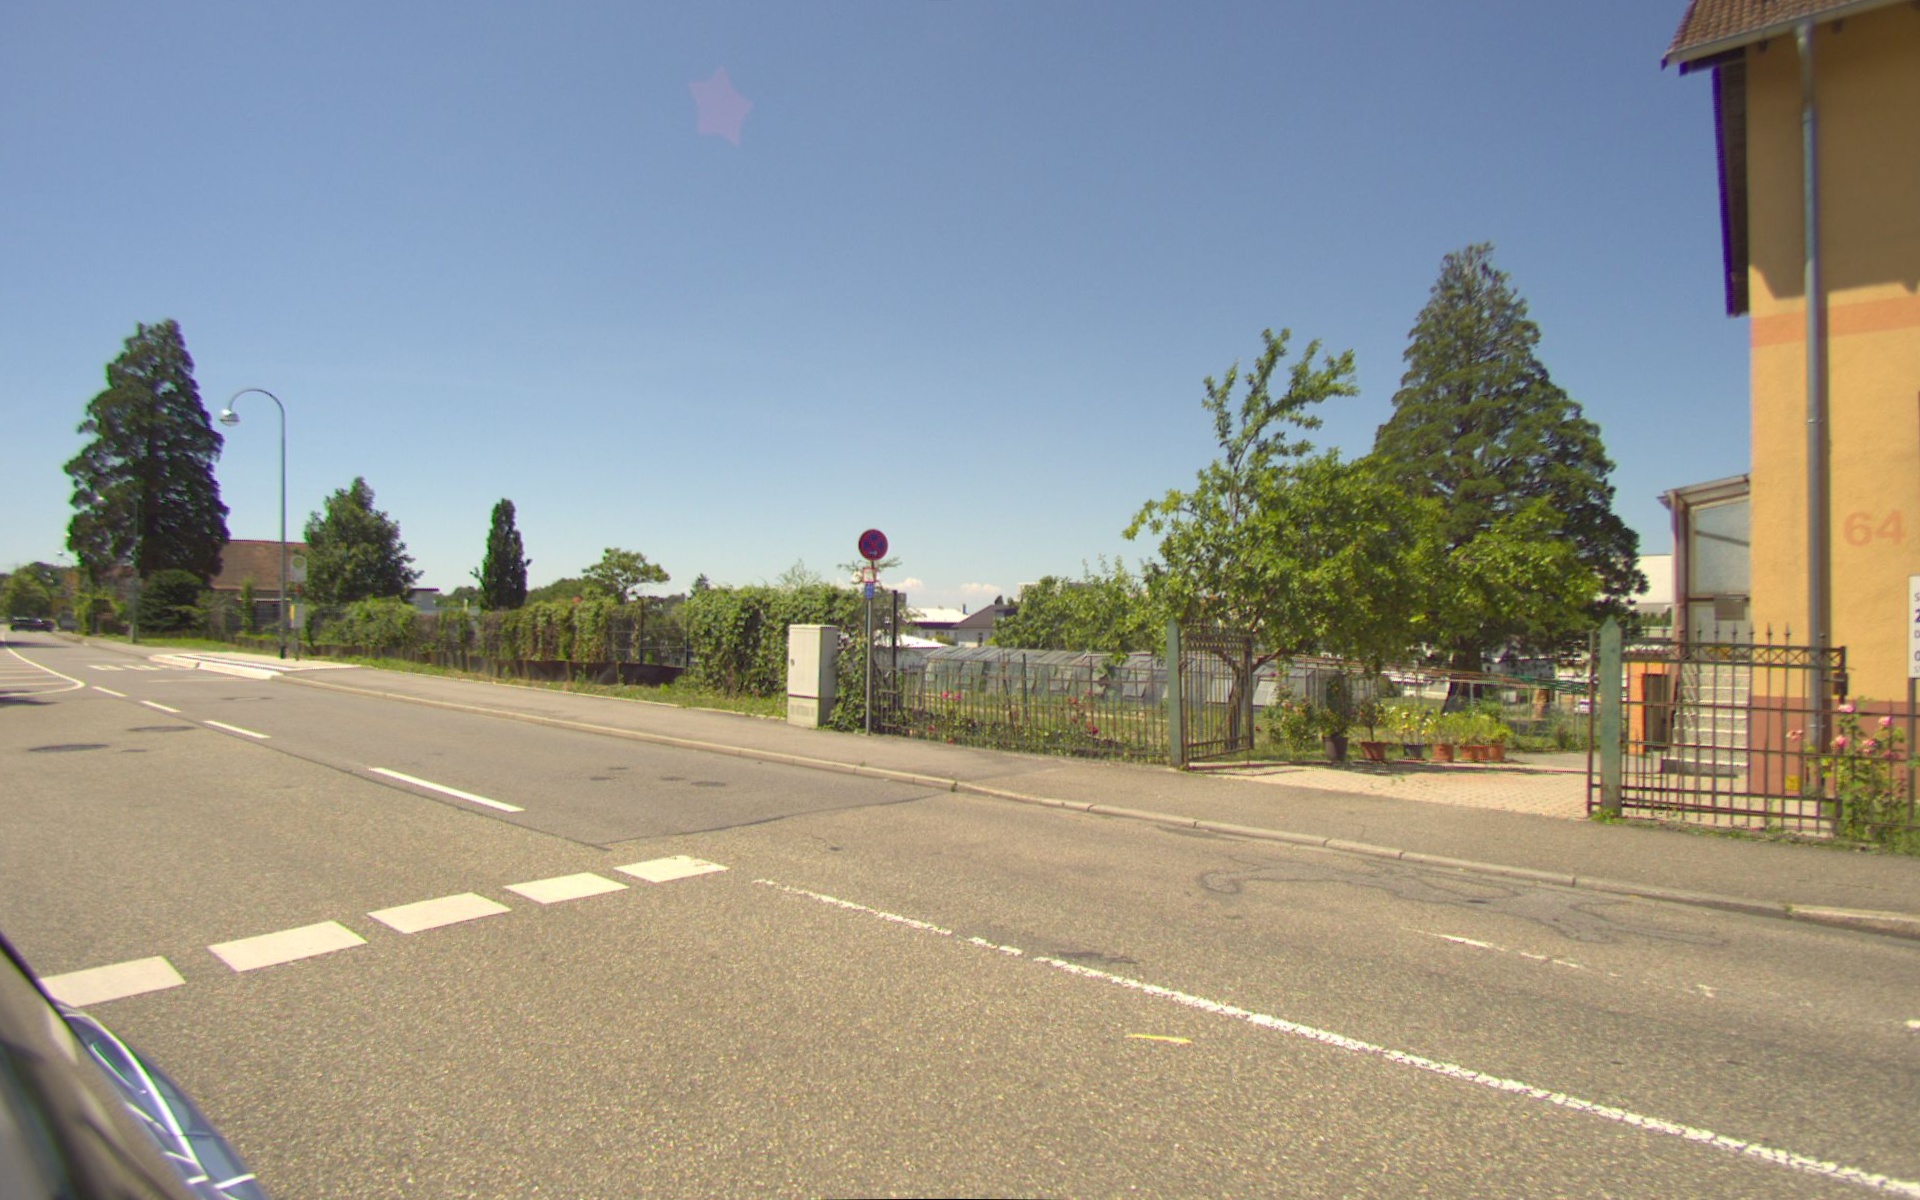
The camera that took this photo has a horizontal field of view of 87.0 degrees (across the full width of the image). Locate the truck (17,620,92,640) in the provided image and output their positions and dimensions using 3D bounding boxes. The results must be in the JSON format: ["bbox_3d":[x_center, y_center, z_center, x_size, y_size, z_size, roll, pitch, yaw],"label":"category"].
[{"bbox_3d":[-102.518,3.398,114.597,6.171,2.258,2.623,0,-2,1],"label":"truck"}]
